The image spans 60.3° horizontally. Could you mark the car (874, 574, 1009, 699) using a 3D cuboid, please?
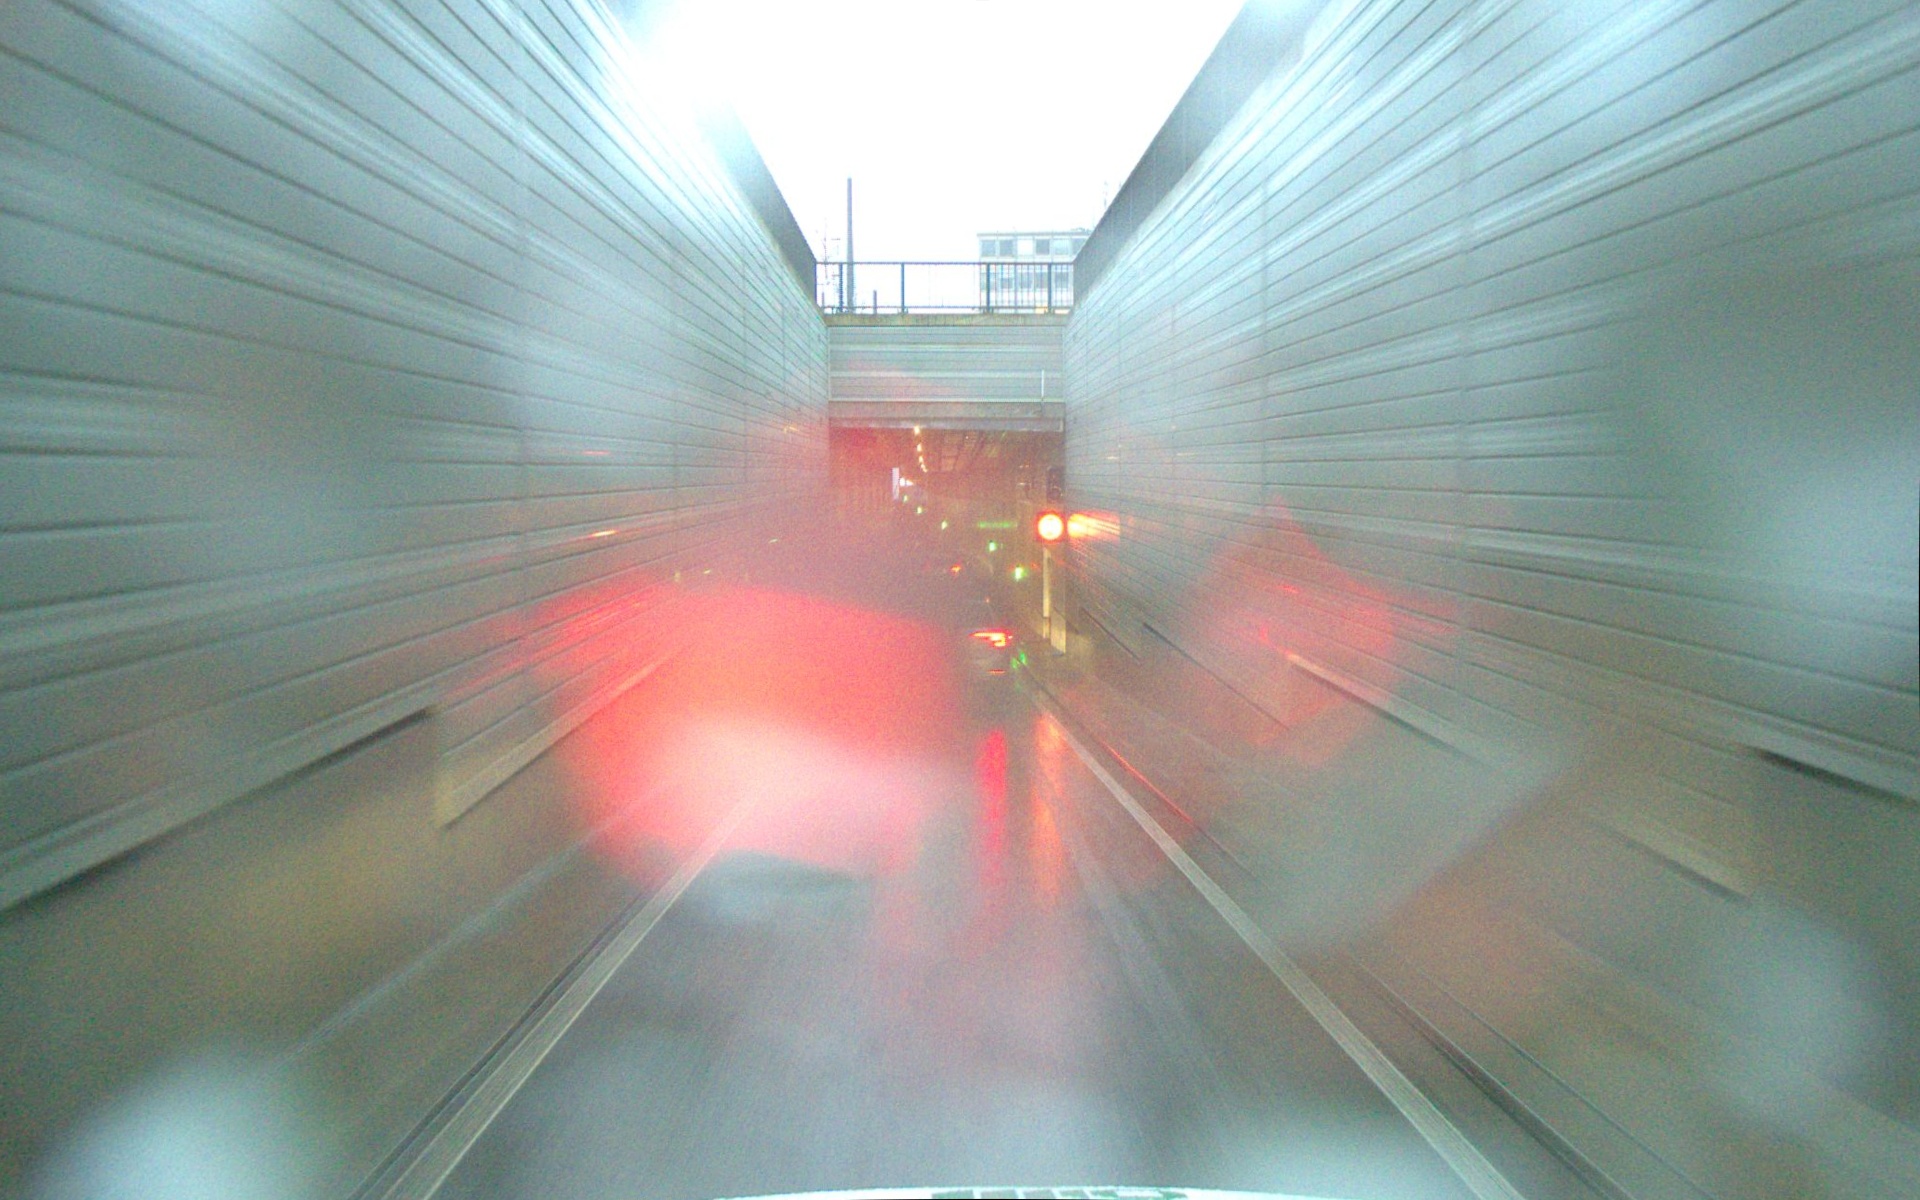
[{"bbox_3d":[-0.222,0.435,23.262,1.687,1.505,4.001,2,1,0],"label":"car"}]

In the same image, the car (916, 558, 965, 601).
[{"bbox_3d":[-0.849,-0.880,69.522,1.881,1.511,4.000,2,4,-3],"label":"car"}]
